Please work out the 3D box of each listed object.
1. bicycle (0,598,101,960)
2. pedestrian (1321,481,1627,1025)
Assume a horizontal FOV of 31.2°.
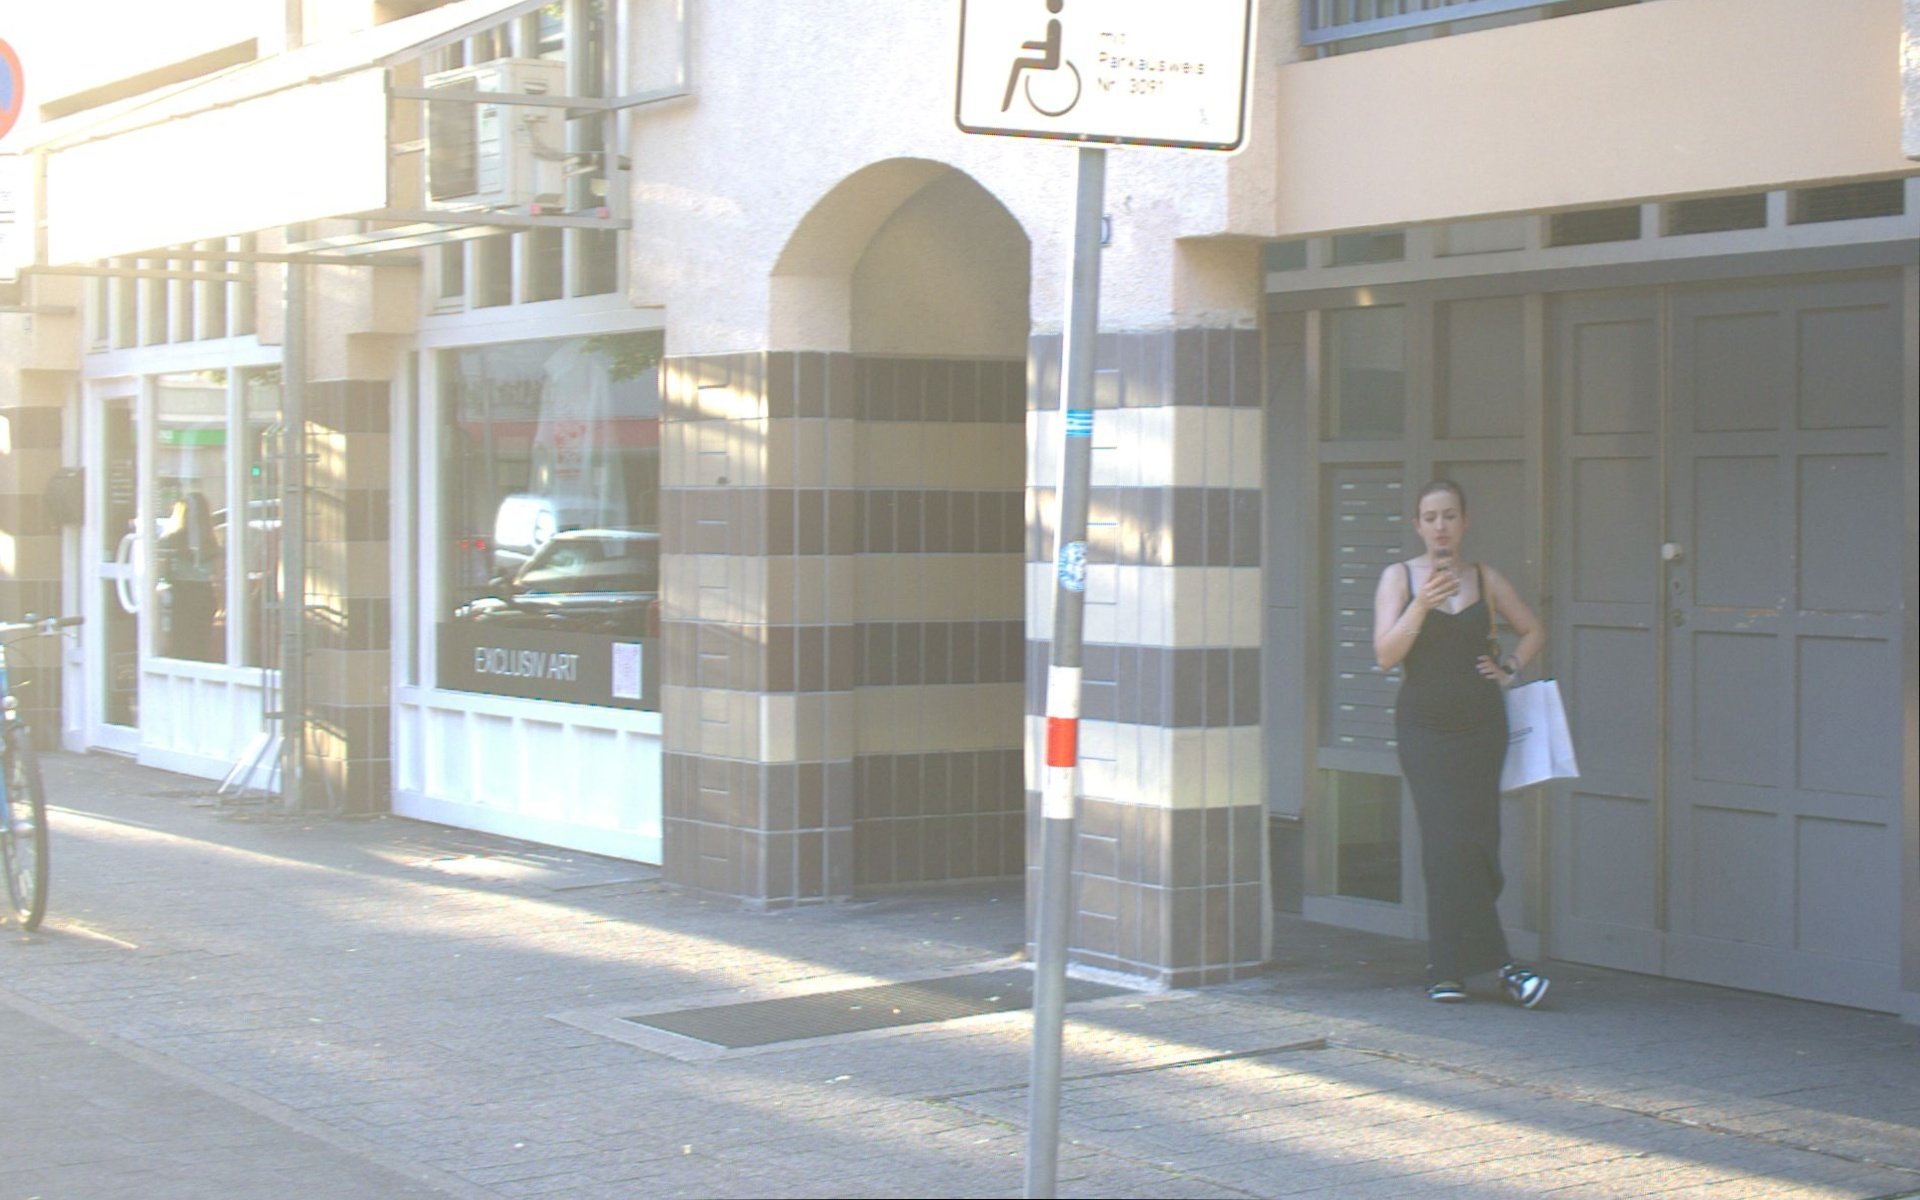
[{"bbox_3d":[-3.722,0.605,12.676,0.558,1.202,1.978,0,2,-30],"label":"bicycle"},{"bbox_3d":[1.511,0.434,10.179,0.776,1.567,0.534,0,2,-5],"label":"pedestrian"}]
